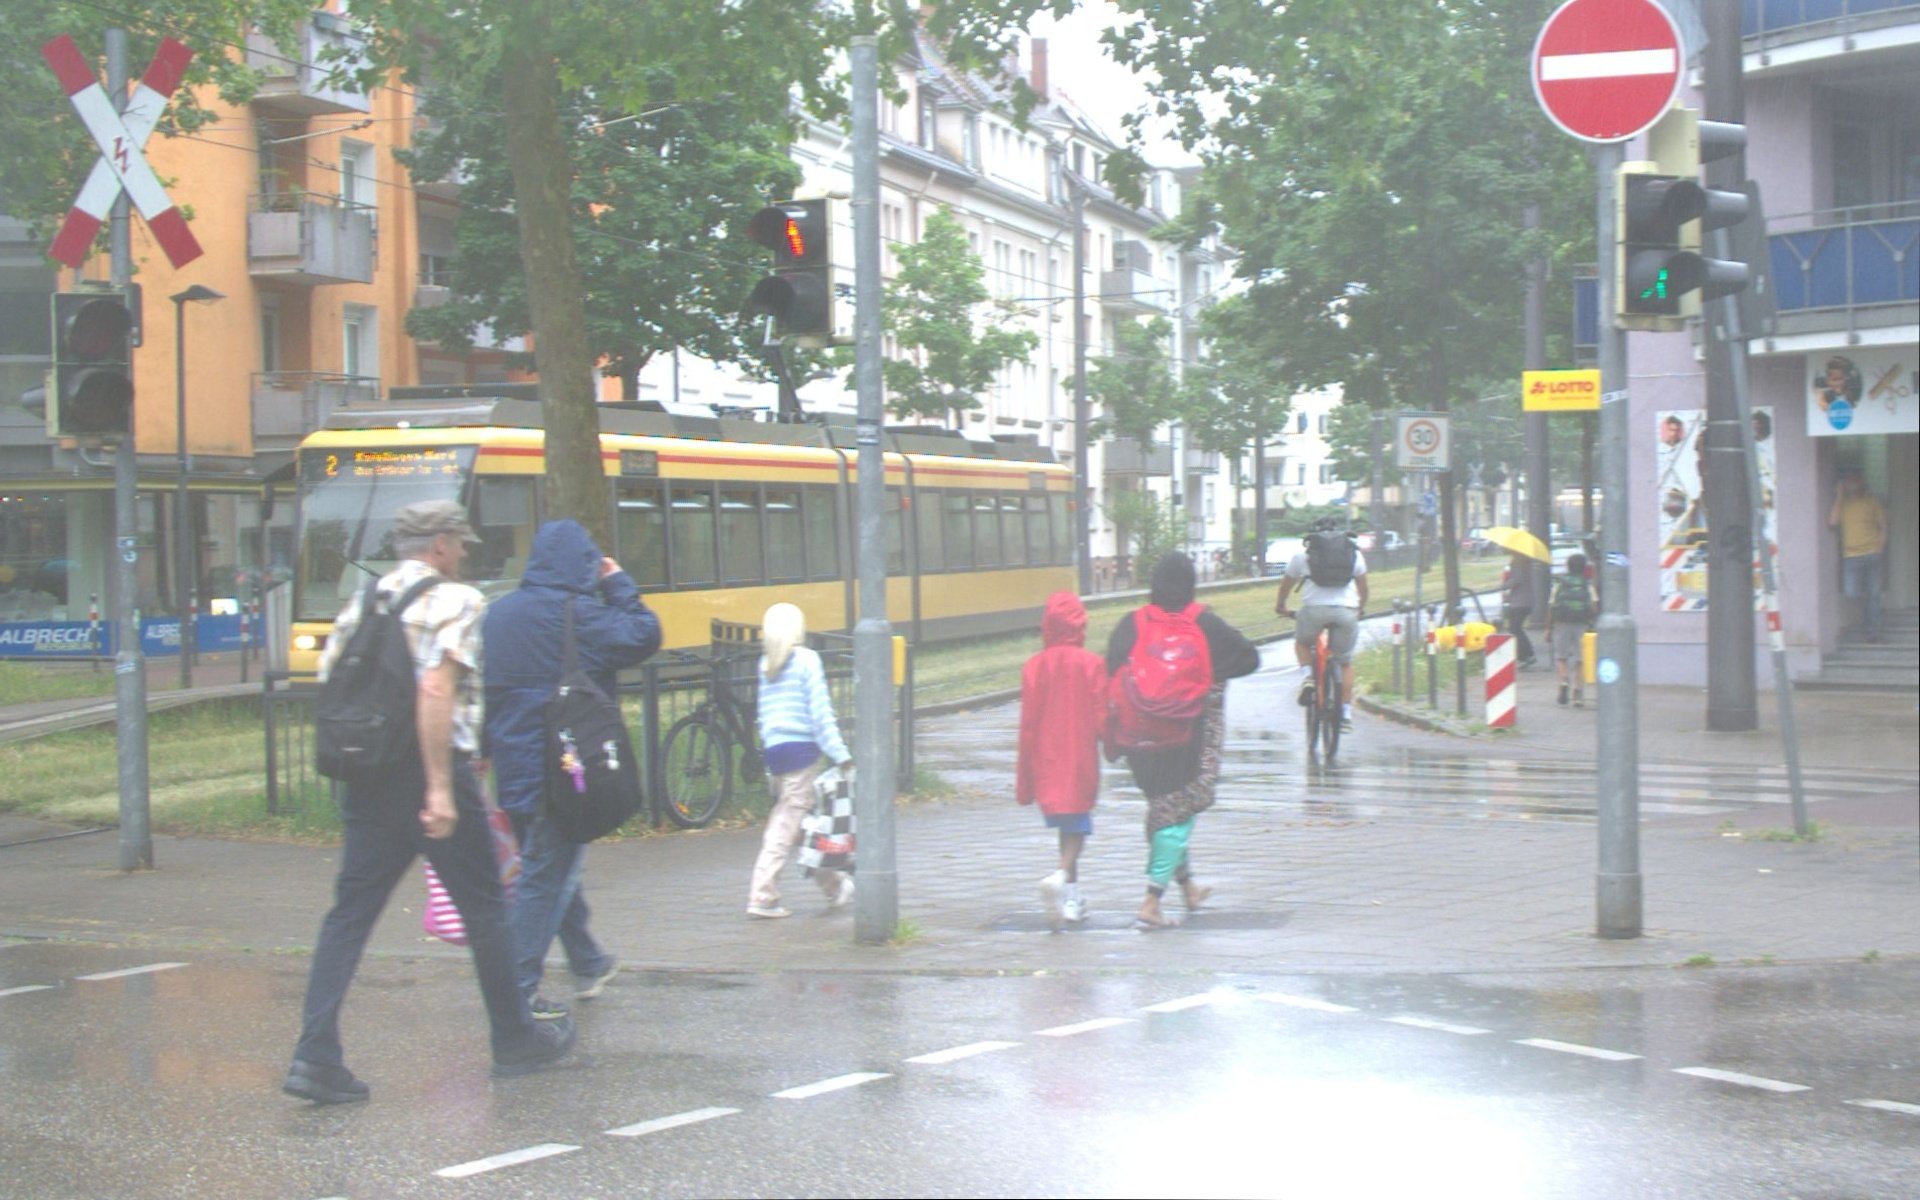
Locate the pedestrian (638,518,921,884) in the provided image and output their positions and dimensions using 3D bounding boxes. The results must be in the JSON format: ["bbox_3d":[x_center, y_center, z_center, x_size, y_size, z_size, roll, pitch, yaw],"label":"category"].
[{"bbox_3d":[-0.773,0.415,15.016,0.876,1.520,1.064,-1,1,19],"label":"pedestrian"}]

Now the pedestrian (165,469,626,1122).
[{"bbox_3d":[-1.637,0.521,10.023,0.811,1.775,0.992,0,2,41],"label":"pedestrian"}]

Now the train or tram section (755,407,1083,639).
[{"bbox_3d":[-0.444,-1.212,54.766,2.639,3.340,9.981,0,1,15],"label":"train or tram section"}]

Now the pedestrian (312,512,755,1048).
[{"bbox_3d":[-1.440,0.561,11.638,0.995,1.680,1.053,0,2,44],"label":"pedestrian"}]

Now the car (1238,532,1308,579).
[{"bbox_3d":[10.488,-1.493,114.889,1.994,1.527,3.998,0,1,10],"label":"car"}]

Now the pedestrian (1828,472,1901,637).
[{"bbox_3d":[8.849,-0.446,33.636,0.472,1.596,0.592,0,1,40],"label":"pedestrian"}]

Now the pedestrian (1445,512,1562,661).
[{"bbox_3d":[6.349,-0.165,40.165,0.919,1.691,0.955,-2,2,-42],"label":"pedestrian"}]

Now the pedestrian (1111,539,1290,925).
[{"bbox_3d":[0.998,0.531,14.303,0.690,1.542,0.761,-1,2,4],"label":"pedestrian"}]

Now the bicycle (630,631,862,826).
[{"bbox_3d":[-1.259,0.746,20.546,0.445,1.073,1.615,0,1,36],"label":"bicycle"}]

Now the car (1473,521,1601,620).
[{"bbox_3d":[10.432,-0.556,61.991,1.995,1.667,3.998,-1,1,13],"label":"car"}]

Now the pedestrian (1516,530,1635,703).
[{"bbox_3d":[5.653,0.146,31.539,0.992,1.554,0.784,-1,1,15],"label":"pedestrian"}]

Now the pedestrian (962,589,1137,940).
[{"bbox_3d":[0.389,0.665,14.393,0.671,1.377,1.010,-1,2,3],"label":"pedestrian"}]

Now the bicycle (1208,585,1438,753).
[{"bbox_3d":[2.734,0.498,26.132,0.750,1.169,2.042,-2,2,-26],"label":"bicycle"}]

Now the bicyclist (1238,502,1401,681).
[{"bbox_3d":[2.721,-0.077,26.093,0.740,1.305,1.077,-2,2,-26],"label":"bicyclist"}]

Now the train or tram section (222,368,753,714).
[{"bbox_3d":[-4.917,-0.658,37.837,2.639,3.358,8.370,0,1,16],"label":"train or tram section"}]

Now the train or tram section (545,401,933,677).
[{"bbox_3d":[-2.740,-0.822,45.903,2.639,3.340,8.371,0,1,15],"label":"train or tram section"}]
